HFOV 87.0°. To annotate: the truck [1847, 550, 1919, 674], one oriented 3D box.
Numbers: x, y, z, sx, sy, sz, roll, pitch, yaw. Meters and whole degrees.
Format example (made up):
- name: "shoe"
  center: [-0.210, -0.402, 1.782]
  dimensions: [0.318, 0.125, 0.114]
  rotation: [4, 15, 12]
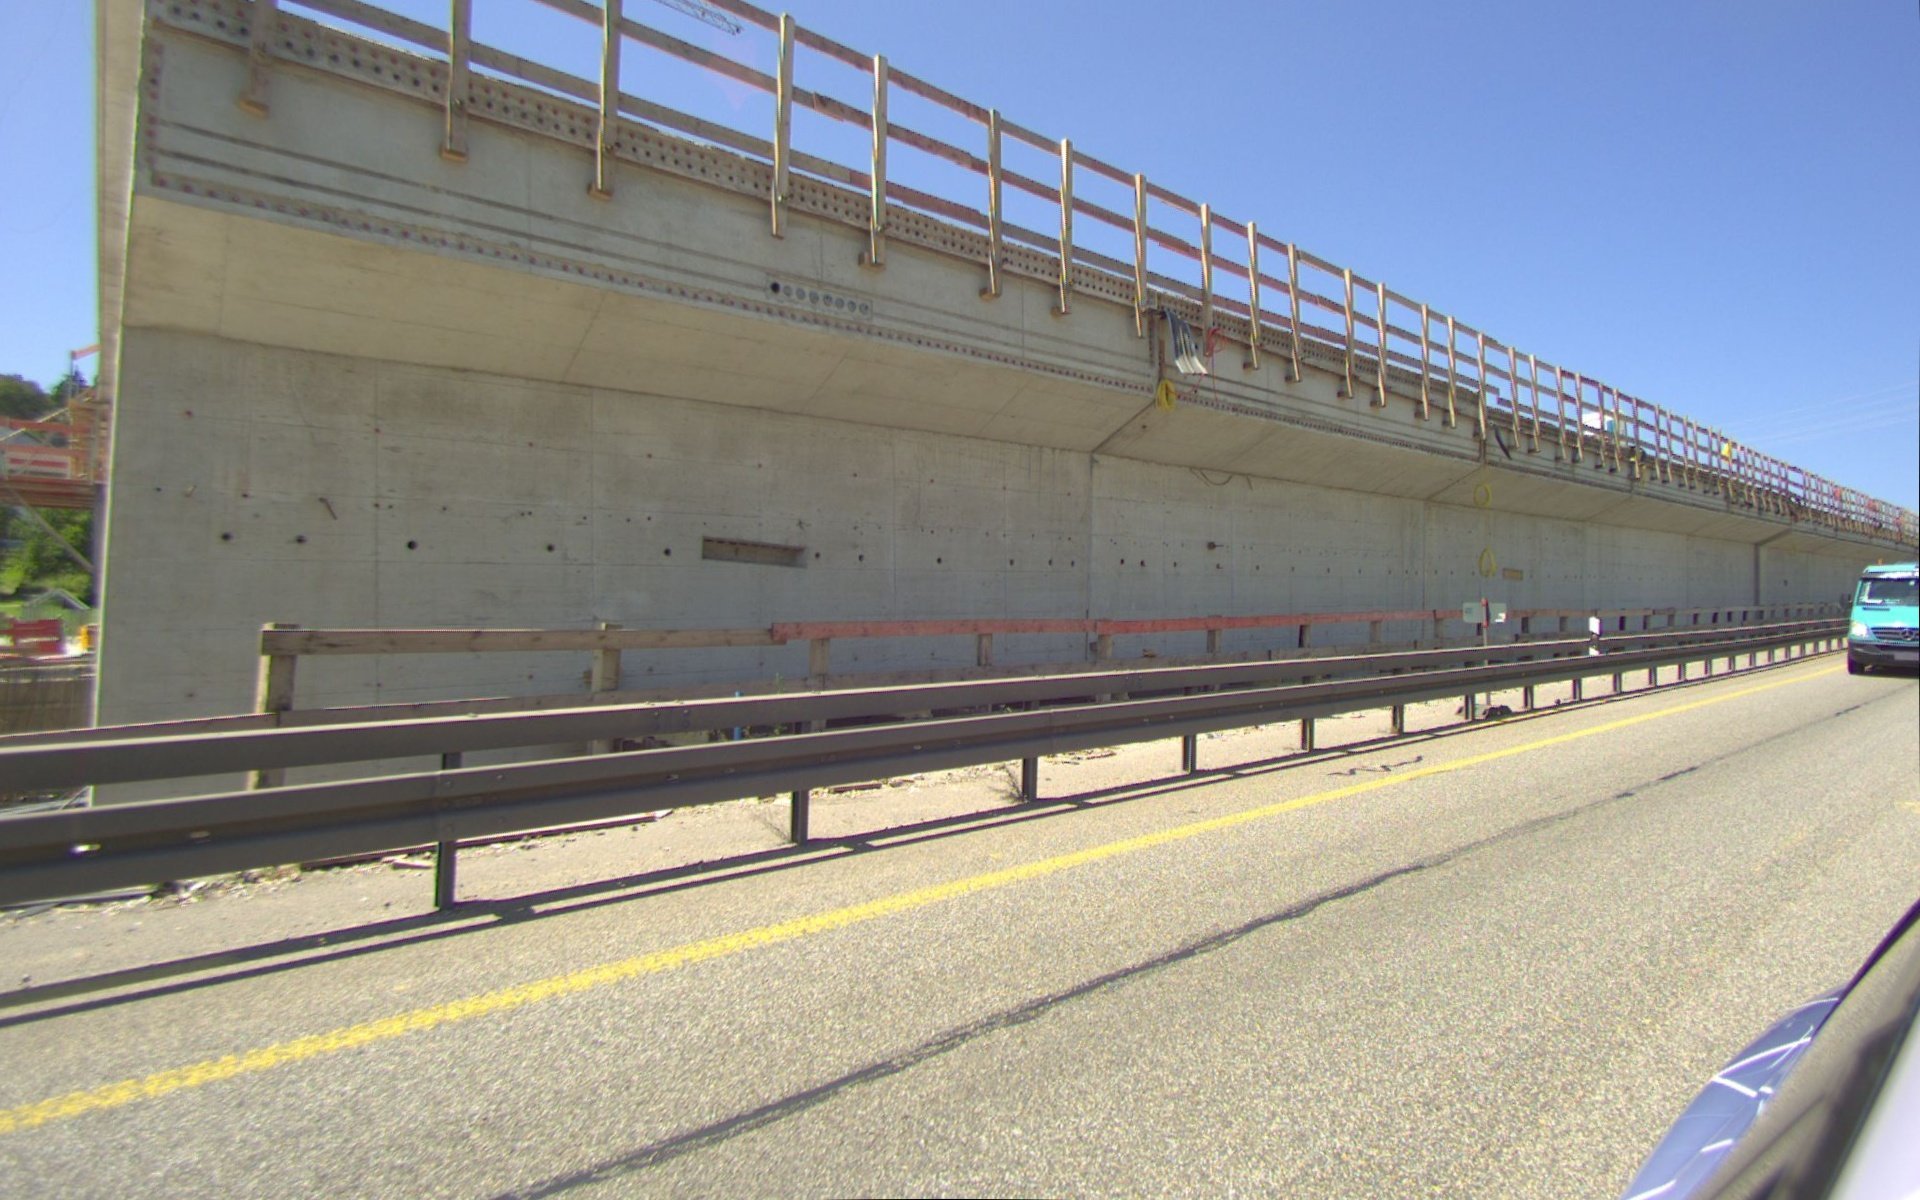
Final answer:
- name: "truck"
  center: [21.244, 0.159, 21.851]
  dimensions: [7.303, 2.386, 2.138]
  rotation: [-2, 1, -41]
